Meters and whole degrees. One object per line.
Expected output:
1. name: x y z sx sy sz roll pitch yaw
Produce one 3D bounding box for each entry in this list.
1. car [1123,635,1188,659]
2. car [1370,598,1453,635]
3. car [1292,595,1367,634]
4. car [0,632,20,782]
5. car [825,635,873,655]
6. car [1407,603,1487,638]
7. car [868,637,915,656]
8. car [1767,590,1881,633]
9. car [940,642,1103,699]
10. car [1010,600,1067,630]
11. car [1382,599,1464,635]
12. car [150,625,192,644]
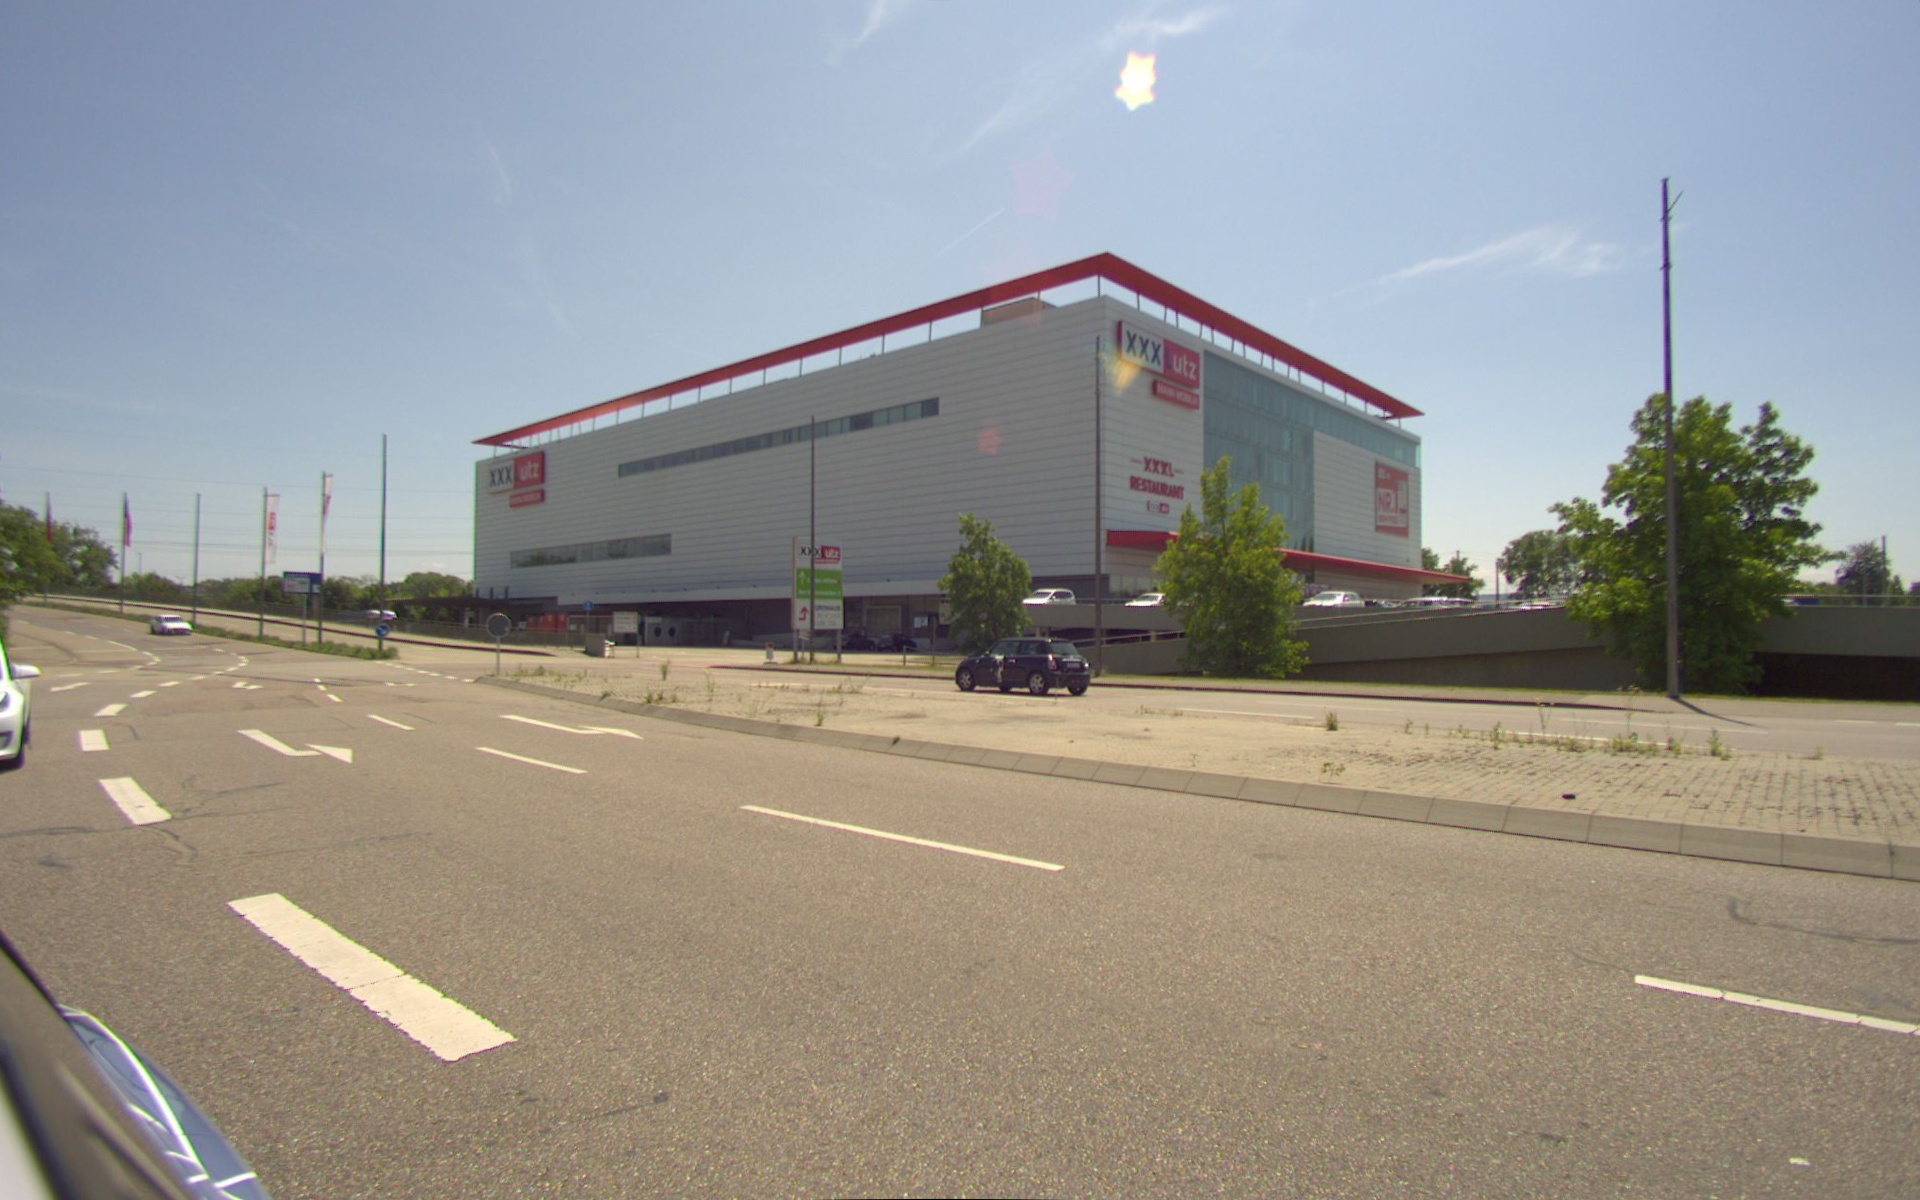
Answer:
1. car: 14.589 3.482 75.633 4.407 1.701 1.975 -1 -3 37
2. car: 25.880 0.951 58.073 3.998 2.029 1.972 -1 -3 41
3. car: 17.992 0.732 49.170 2.000 1.781 4.141 -1 -3 43
4. car: -11.305 1.059 10.669 4.408 1.436 1.854 -2 -2 45
5. car: -9.279 3.727 84.692 1.910 1.632 3.699 -1 -3 40
6. car: 29.429 1.253 61.237 3.998 2.029 1.972 -1 -3 41
7. car: -5.491 3.733 81.680 1.958 1.507 3.437 -1 -3 41
8. car: 41.106 0.592 48.268 3.994 1.923 1.974 -2 -3 38
9. car: 1.486 1.726 25.469 1.834 1.312 3.896 4 -4 -44
10. car: 4.712 0.938 60.602 1.707 1.709 3.434 -1 -2 41
11. car: 27.322 1.022 59.768 3.998 2.029 1.972 -1 -3 41
12. car: -62.204 2.754 79.788 4.226 1.461 1.713 -2 -3 40
